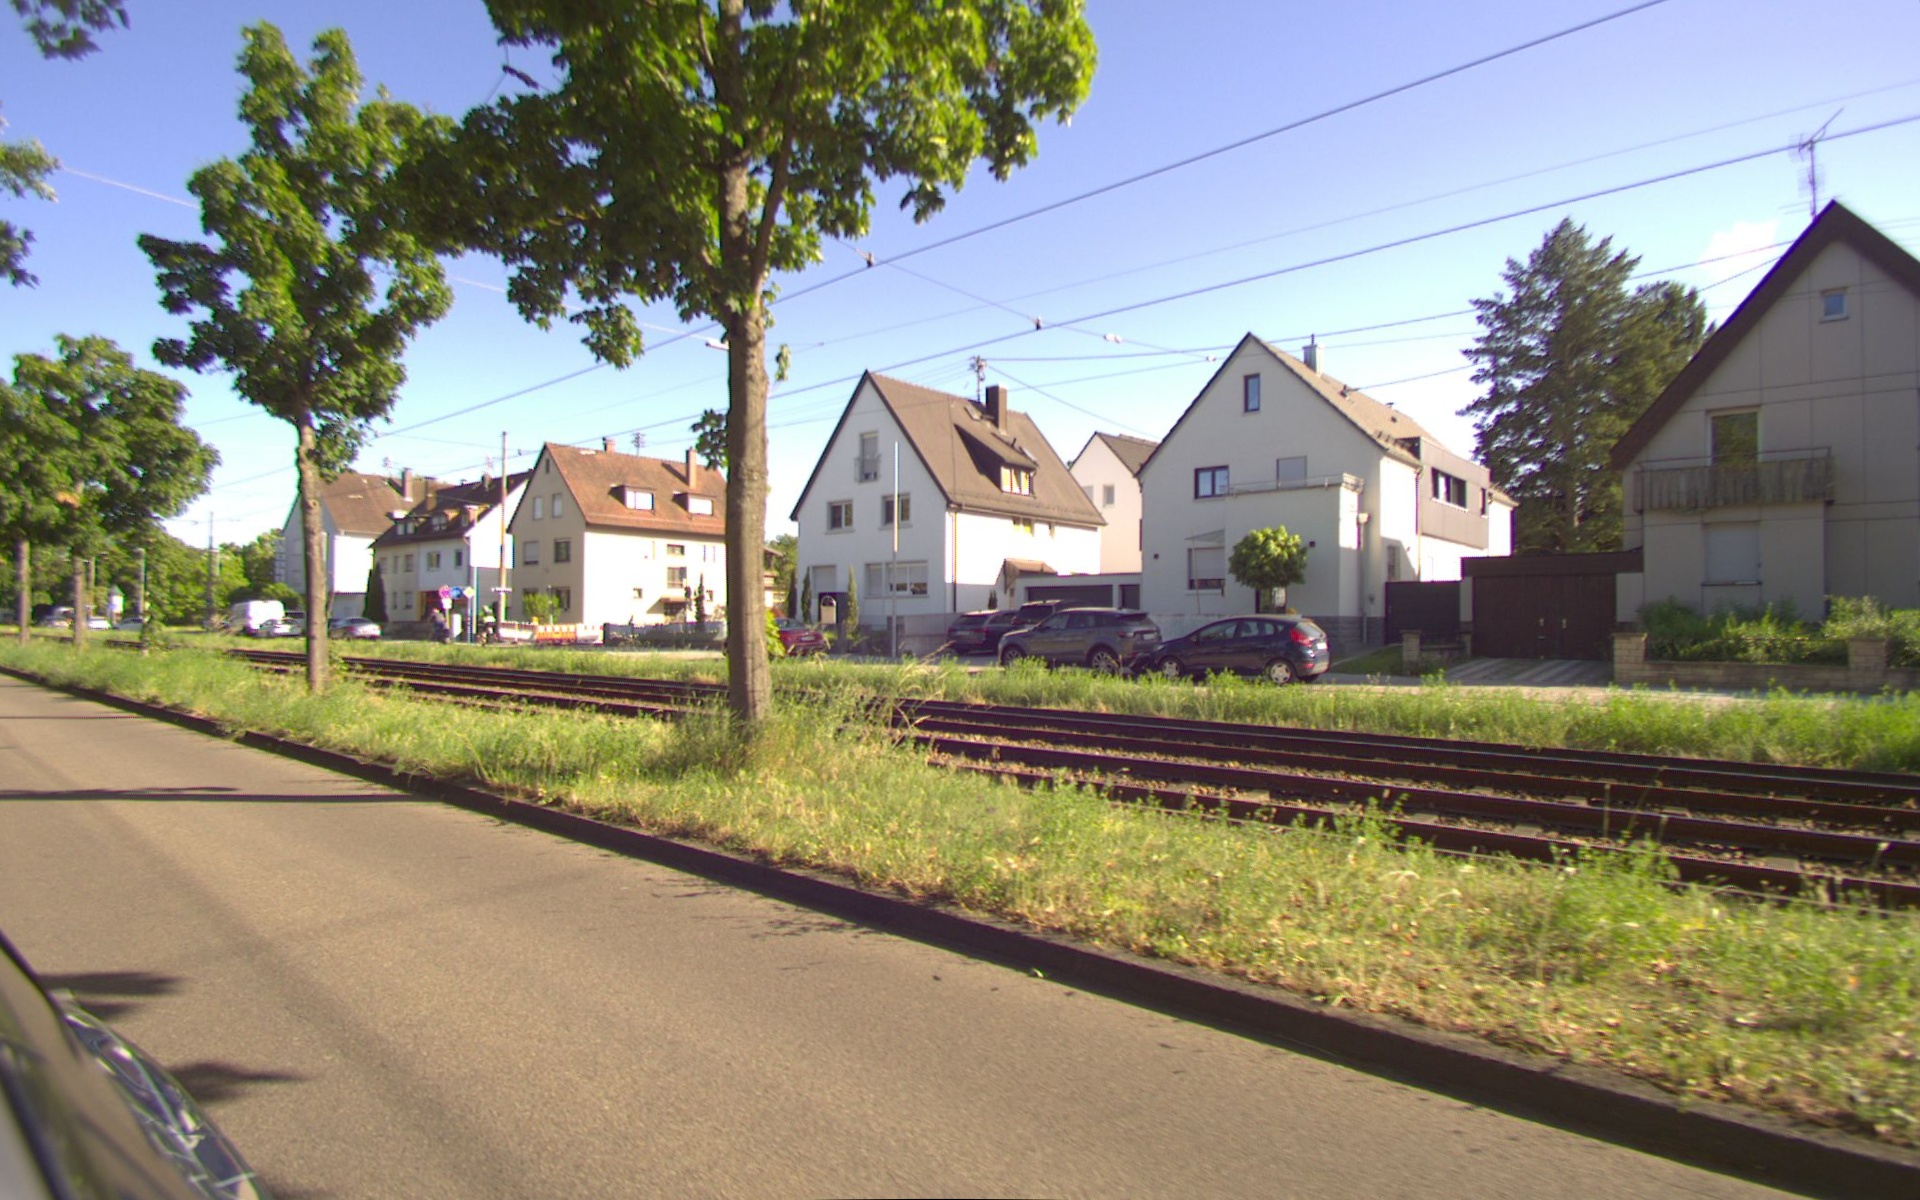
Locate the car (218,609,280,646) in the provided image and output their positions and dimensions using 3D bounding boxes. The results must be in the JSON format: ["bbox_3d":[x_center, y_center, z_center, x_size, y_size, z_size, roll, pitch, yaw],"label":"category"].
[{"bbox_3d":[-49.796,1.902,70.818,6.670,2.478,1.973,-1,-1,41],"label":"car"}]

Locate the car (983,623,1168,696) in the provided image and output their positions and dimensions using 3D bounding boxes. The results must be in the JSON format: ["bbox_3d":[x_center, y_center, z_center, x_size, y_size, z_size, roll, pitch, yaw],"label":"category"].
[{"bbox_3d":[2.737,1.380,24.714,4.385,1.580,1.626,-1,-1,43],"label":"car"}]

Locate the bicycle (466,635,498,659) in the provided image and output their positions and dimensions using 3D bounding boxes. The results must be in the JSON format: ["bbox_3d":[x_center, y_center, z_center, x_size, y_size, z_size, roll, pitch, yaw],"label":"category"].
[{"bbox_3d":[-19.560,1.911,41.432,2.095,0.935,0.394,-1,-2,42],"label":"bicycle"}]

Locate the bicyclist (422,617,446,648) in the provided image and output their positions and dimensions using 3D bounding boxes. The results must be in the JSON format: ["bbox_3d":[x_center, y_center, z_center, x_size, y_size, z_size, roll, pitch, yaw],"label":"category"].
[{"bbox_3d":[-23.150,1.405,44.525,0.881,1.347,0.681,-1,-2,42],"label":"bicyclist"}]

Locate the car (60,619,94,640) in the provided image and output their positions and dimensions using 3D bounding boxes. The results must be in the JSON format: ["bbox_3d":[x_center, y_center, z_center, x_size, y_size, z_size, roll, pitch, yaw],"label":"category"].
[{"bbox_3d":[-103.210,3.430,118.229,6.462,2.394,2.160,-1,-1,41],"label":"car"}]

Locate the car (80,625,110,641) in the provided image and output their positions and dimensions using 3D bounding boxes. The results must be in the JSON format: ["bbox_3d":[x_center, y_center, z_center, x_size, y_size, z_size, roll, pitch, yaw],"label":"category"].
[{"bbox_3d":[-93.330,3.509,109.140,4.772,1.619,1.804,-1,-1,42],"label":"car"}]

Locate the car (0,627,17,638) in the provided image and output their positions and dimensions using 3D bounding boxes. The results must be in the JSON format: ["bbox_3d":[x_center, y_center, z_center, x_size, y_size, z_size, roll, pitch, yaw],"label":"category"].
[{"bbox_3d":[-146.808,5.003,155.976,4.530,1.635,1.605,-1,-1,41],"label":"car"}]

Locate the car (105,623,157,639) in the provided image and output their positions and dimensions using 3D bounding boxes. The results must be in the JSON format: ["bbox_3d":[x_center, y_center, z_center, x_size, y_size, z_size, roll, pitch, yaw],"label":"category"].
[{"bbox_3d":[-79.259,2.972,96.800,3.563,1.489,1.756,1,-2,-27],"label":"car"}]

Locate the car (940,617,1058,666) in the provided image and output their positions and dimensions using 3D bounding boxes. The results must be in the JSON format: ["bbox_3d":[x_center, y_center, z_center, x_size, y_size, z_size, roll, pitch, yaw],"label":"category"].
[{"bbox_3d":[1.359,1.335,33.889,1.935,1.474,4.174,-1,-1,37],"label":"car"}]

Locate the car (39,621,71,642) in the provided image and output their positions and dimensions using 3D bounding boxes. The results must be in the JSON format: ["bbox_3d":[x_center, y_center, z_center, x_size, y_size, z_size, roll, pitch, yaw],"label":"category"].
[{"bbox_3d":[-86.952,2.971,97.212,4.522,1.897,1.895,-1,-1,42],"label":"car"}]

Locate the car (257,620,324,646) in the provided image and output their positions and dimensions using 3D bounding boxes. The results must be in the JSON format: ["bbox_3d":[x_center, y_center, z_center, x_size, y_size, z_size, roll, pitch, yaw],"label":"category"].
[{"bbox_3d":[-54.318,2.654,82.150,1.992,1.967,4.108,-1,-1,30],"label":"car"}]

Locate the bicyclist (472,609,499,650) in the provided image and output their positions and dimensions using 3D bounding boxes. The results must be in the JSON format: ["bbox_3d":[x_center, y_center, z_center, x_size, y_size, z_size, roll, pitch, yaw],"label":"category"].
[{"bbox_3d":[-19.386,1.210,41.312,0.881,1.665,0.681,-1,-2,41],"label":"bicyclist"}]

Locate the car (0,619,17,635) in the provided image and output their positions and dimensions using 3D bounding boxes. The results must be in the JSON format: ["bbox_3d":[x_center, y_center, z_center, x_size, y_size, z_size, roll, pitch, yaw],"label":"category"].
[{"bbox_3d":[-152.263,4.326,161.231,6.795,2.600,2.202,-2,-1,41],"label":"car"}]

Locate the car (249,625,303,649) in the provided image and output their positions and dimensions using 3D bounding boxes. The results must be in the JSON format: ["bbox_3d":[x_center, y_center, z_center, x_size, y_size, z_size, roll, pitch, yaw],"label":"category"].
[{"bbox_3d":[-45.339,2.420,67.029,4.655,1.423,1.806,-1,-1,41],"label":"car"}]

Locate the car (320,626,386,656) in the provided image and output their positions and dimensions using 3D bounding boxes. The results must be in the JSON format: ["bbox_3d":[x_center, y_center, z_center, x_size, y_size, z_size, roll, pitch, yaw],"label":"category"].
[{"bbox_3d":[-34.762,2.337,57.909,4.496,1.593,1.972,-2,-1,42],"label":"car"}]

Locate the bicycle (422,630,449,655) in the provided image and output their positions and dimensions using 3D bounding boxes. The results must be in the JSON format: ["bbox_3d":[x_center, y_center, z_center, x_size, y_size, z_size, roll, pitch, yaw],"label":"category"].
[{"bbox_3d":[-23.057,1.866,44.485,1.879,1.078,0.394,-1,-2,42],"label":"bicycle"}]

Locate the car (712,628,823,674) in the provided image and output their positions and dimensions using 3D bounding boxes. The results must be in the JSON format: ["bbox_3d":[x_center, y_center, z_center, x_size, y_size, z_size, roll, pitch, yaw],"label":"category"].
[{"bbox_3d":[-6.300,1.605,32.898,4.000,1.336,1.478,-1,-1,43],"label":"car"}]

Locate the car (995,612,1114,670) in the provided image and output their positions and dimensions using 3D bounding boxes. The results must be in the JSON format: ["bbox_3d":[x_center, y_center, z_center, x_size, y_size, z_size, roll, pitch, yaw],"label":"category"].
[{"bbox_3d":[3.060,1.246,32.142,1.997,1.682,3.950,-1,-1,37],"label":"car"}]

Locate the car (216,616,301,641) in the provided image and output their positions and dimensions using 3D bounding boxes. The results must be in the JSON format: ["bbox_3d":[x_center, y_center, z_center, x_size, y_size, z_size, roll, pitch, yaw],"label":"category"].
[{"bbox_3d":[-73.048,2.923,105.545,2.325,2.526,7.004,-1,-1,35],"label":"car"}]

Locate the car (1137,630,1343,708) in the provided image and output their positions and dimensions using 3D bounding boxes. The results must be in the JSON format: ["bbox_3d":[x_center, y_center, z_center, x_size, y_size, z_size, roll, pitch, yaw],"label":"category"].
[{"bbox_3d":[5.962,1.412,21.830,3.987,1.462,1.597,-1,-1,41],"label":"car"}]
